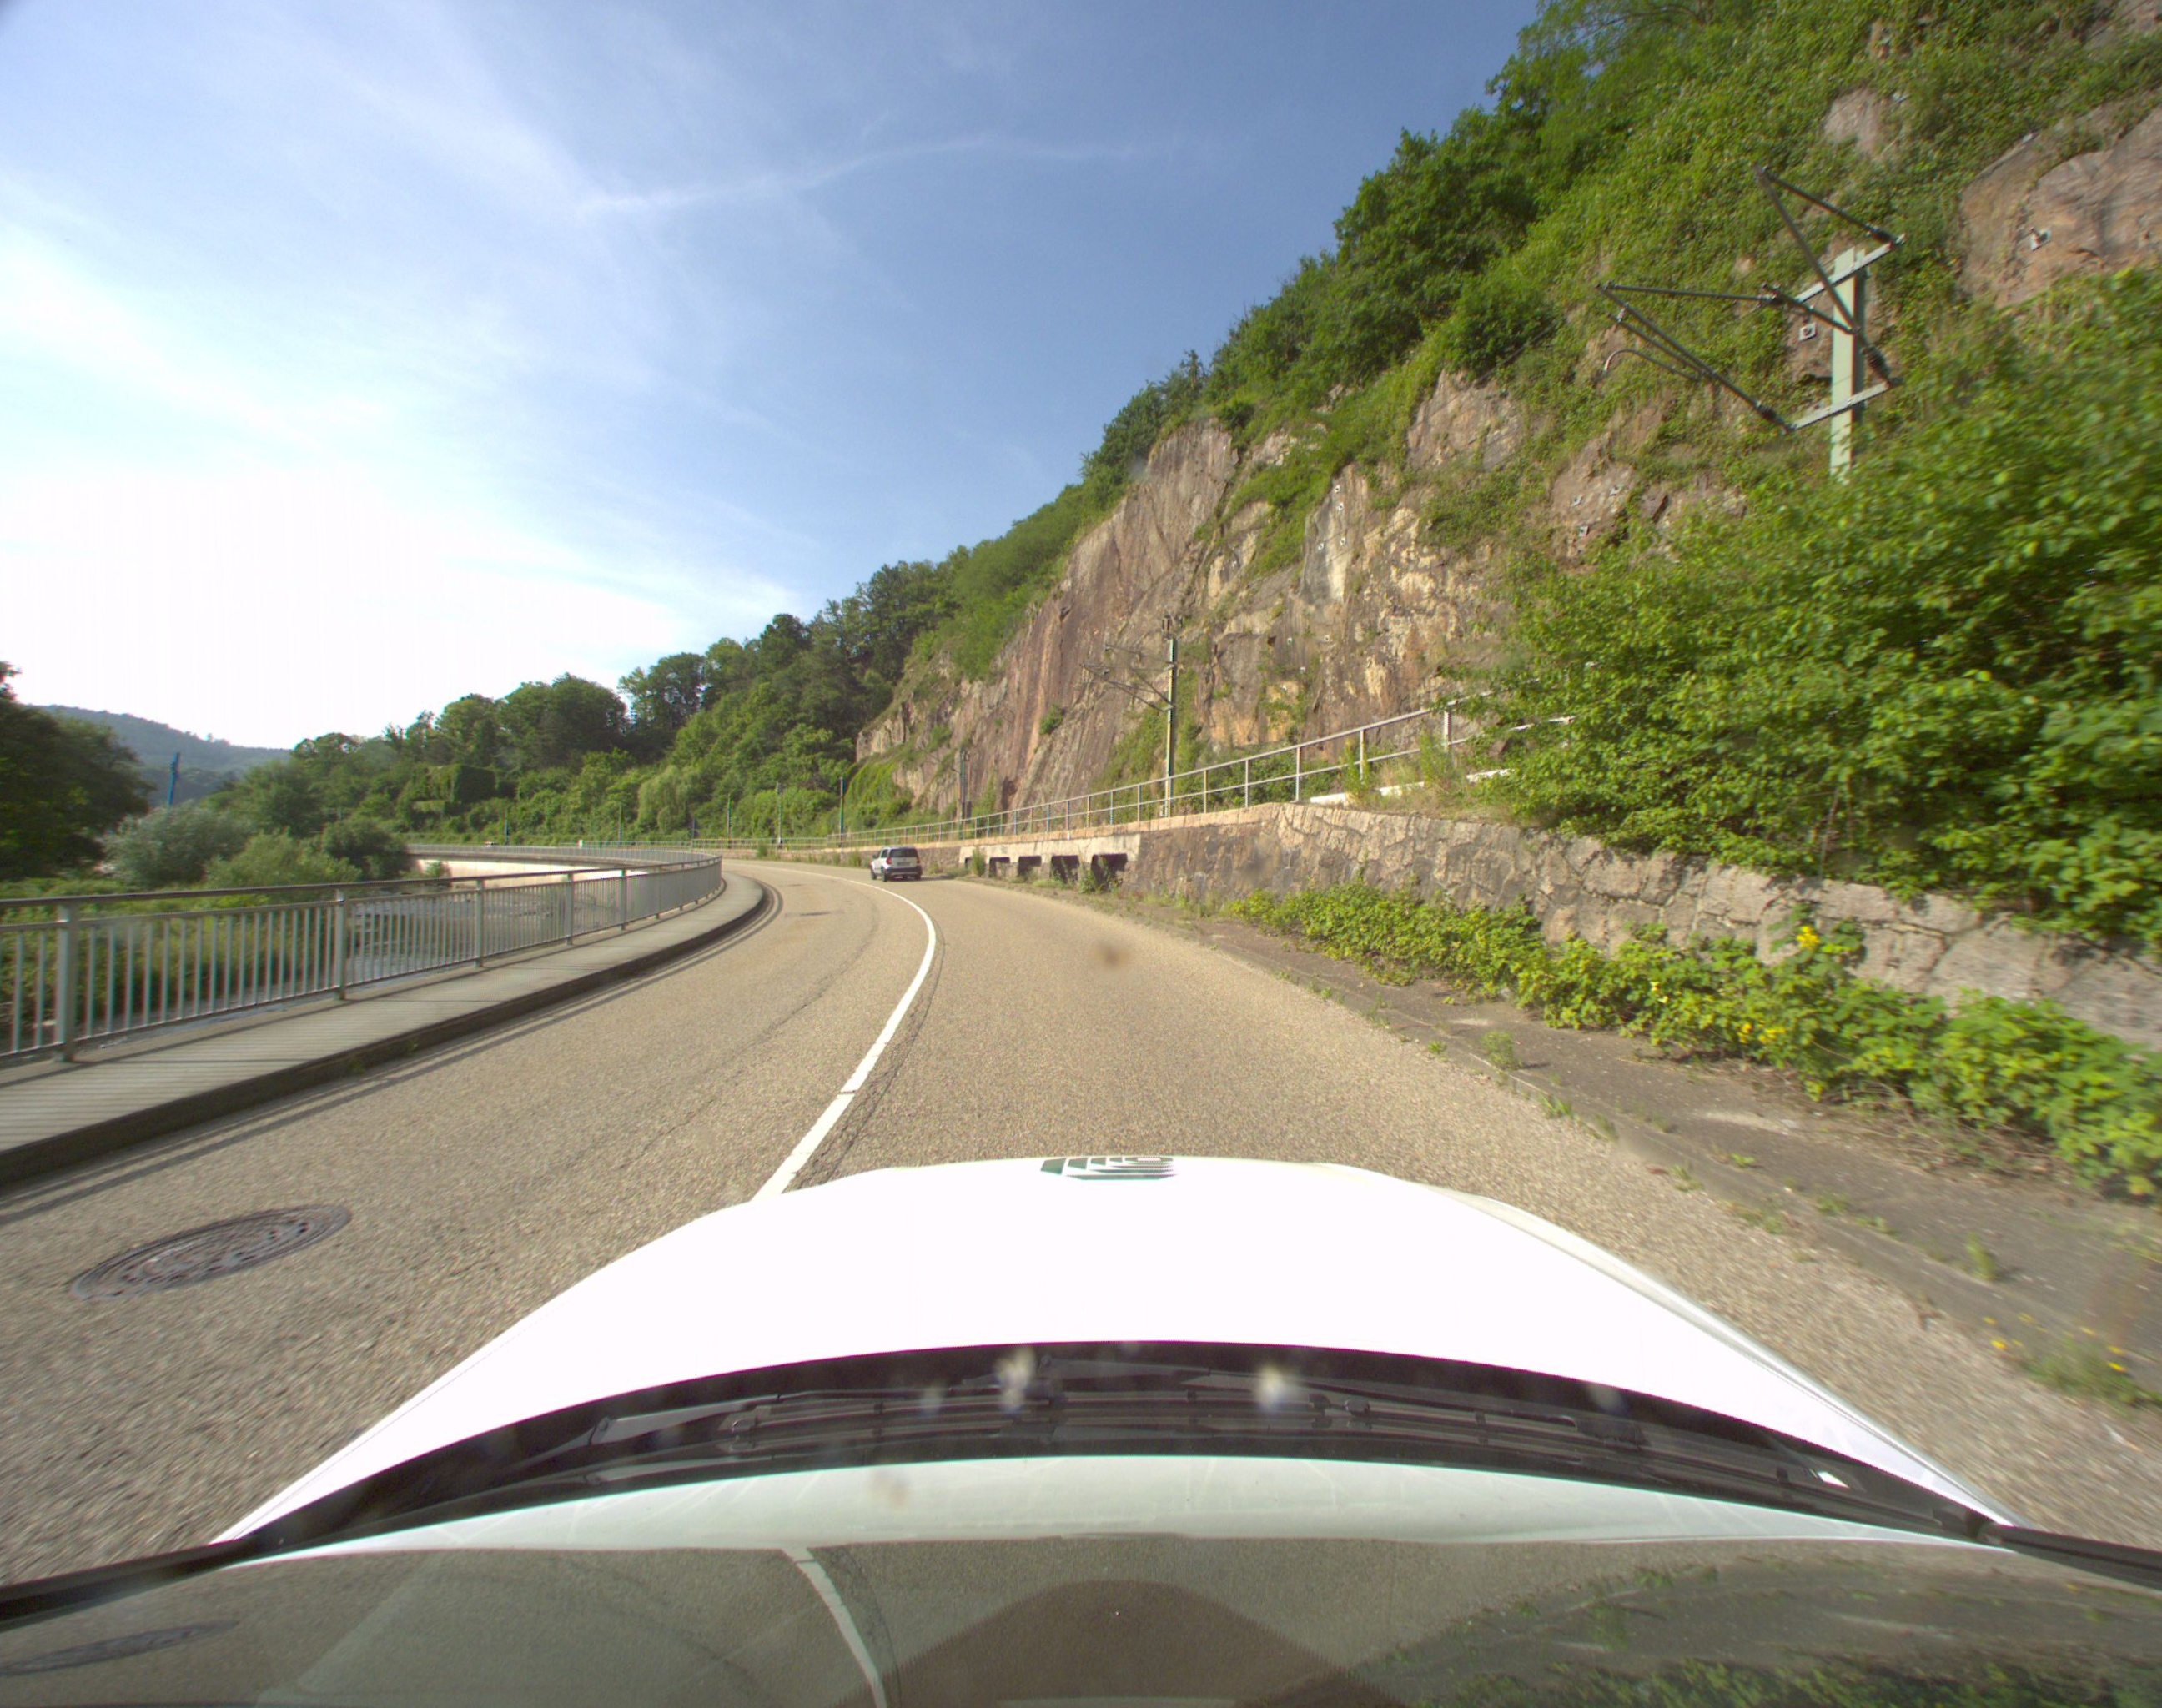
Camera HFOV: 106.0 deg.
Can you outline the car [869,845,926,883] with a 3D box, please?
[{"bbox_3d":[-8.818,0.444,38.894,1.882,1.655,3.968,-1,2,-25],"label":"car"}]
